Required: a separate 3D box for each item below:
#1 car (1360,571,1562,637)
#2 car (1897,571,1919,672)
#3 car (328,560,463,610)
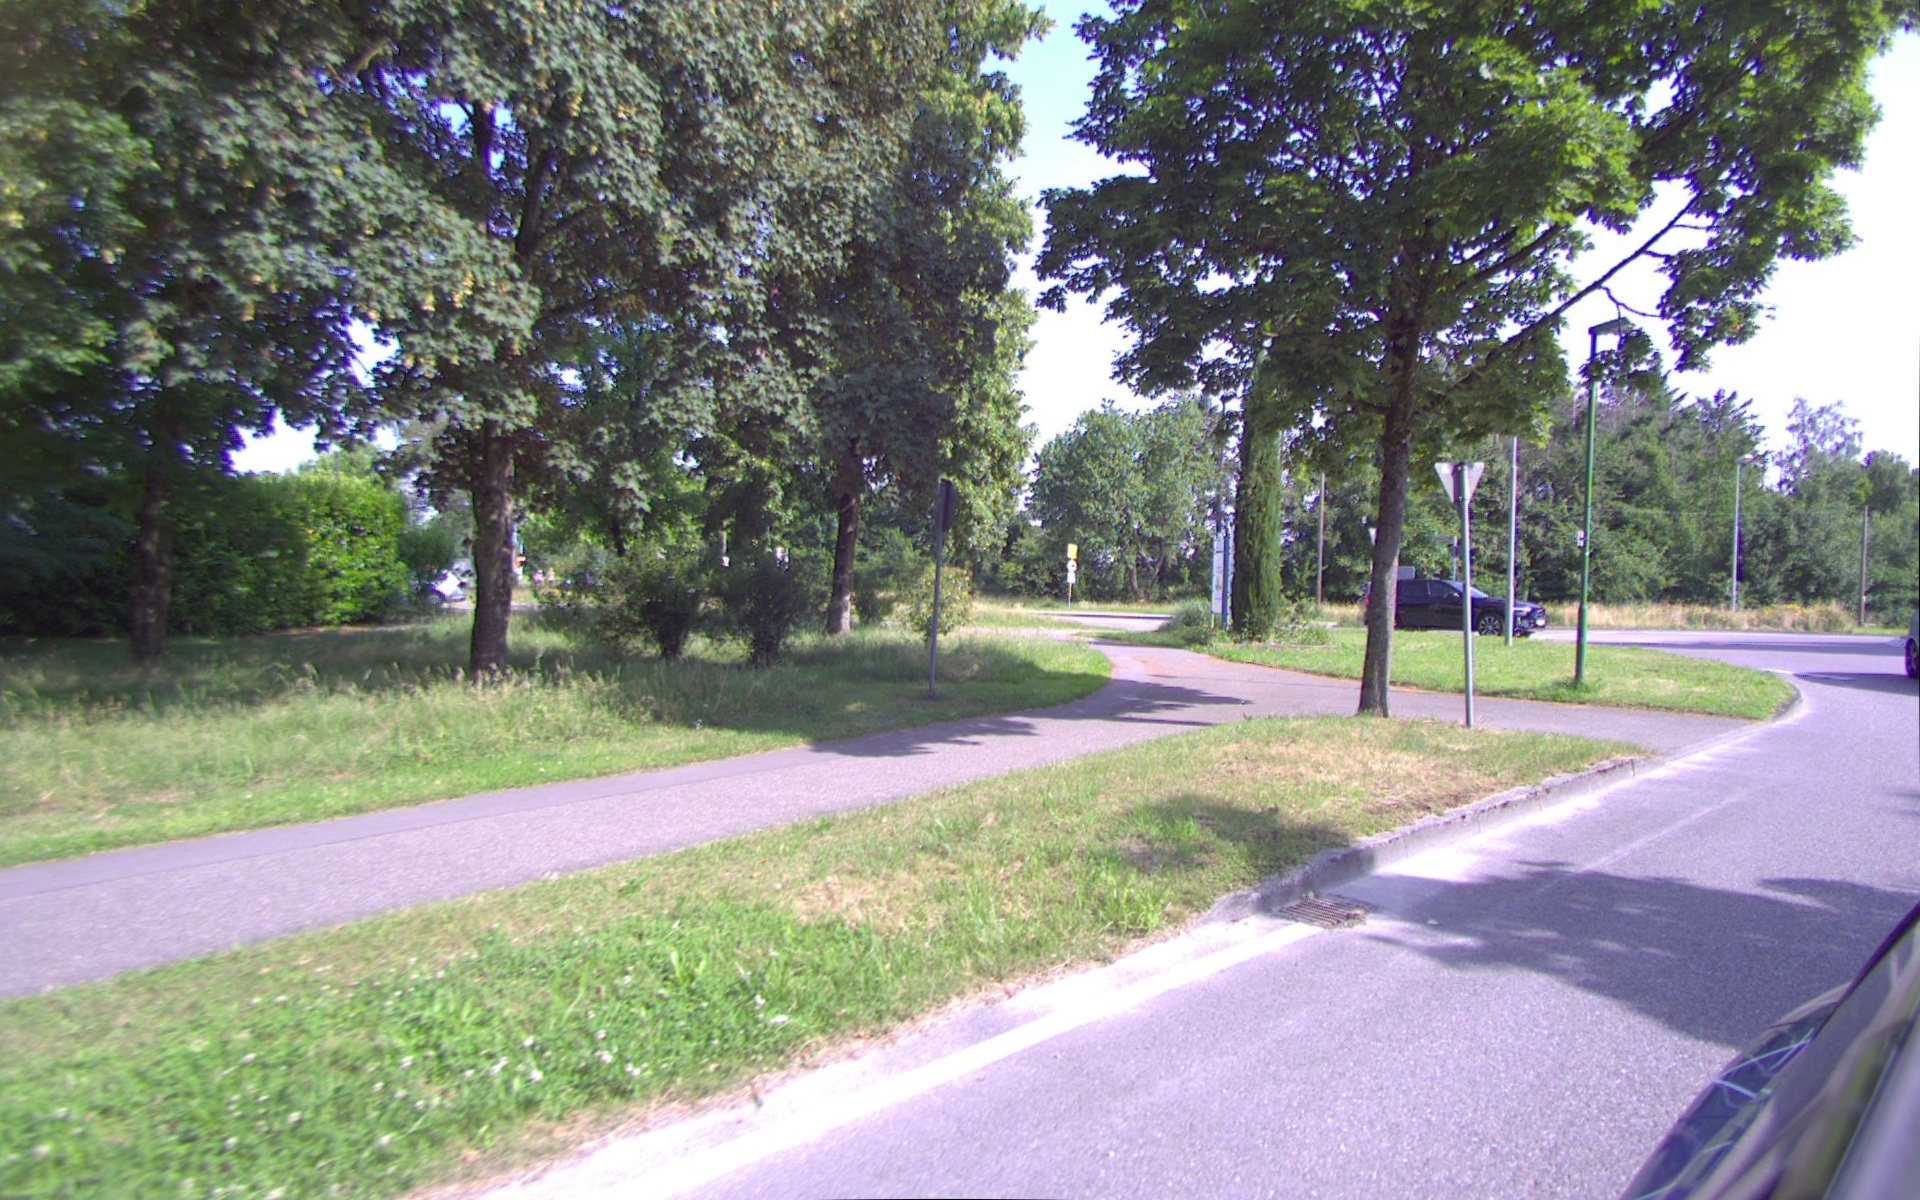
[{"bbox_3d":[13.688,0.051,27.844,1.921,1.621,4.609,0,2,-44],"label":"car"},{"bbox_3d":[15.761,0.388,14.906,1.793,1.621,4.228,1,1,28],"label":"car"},{"bbox_3d":[-19.461,-0.509,35.069,3.988,1.643,1.880,0,1,-27],"label":"car"}]
